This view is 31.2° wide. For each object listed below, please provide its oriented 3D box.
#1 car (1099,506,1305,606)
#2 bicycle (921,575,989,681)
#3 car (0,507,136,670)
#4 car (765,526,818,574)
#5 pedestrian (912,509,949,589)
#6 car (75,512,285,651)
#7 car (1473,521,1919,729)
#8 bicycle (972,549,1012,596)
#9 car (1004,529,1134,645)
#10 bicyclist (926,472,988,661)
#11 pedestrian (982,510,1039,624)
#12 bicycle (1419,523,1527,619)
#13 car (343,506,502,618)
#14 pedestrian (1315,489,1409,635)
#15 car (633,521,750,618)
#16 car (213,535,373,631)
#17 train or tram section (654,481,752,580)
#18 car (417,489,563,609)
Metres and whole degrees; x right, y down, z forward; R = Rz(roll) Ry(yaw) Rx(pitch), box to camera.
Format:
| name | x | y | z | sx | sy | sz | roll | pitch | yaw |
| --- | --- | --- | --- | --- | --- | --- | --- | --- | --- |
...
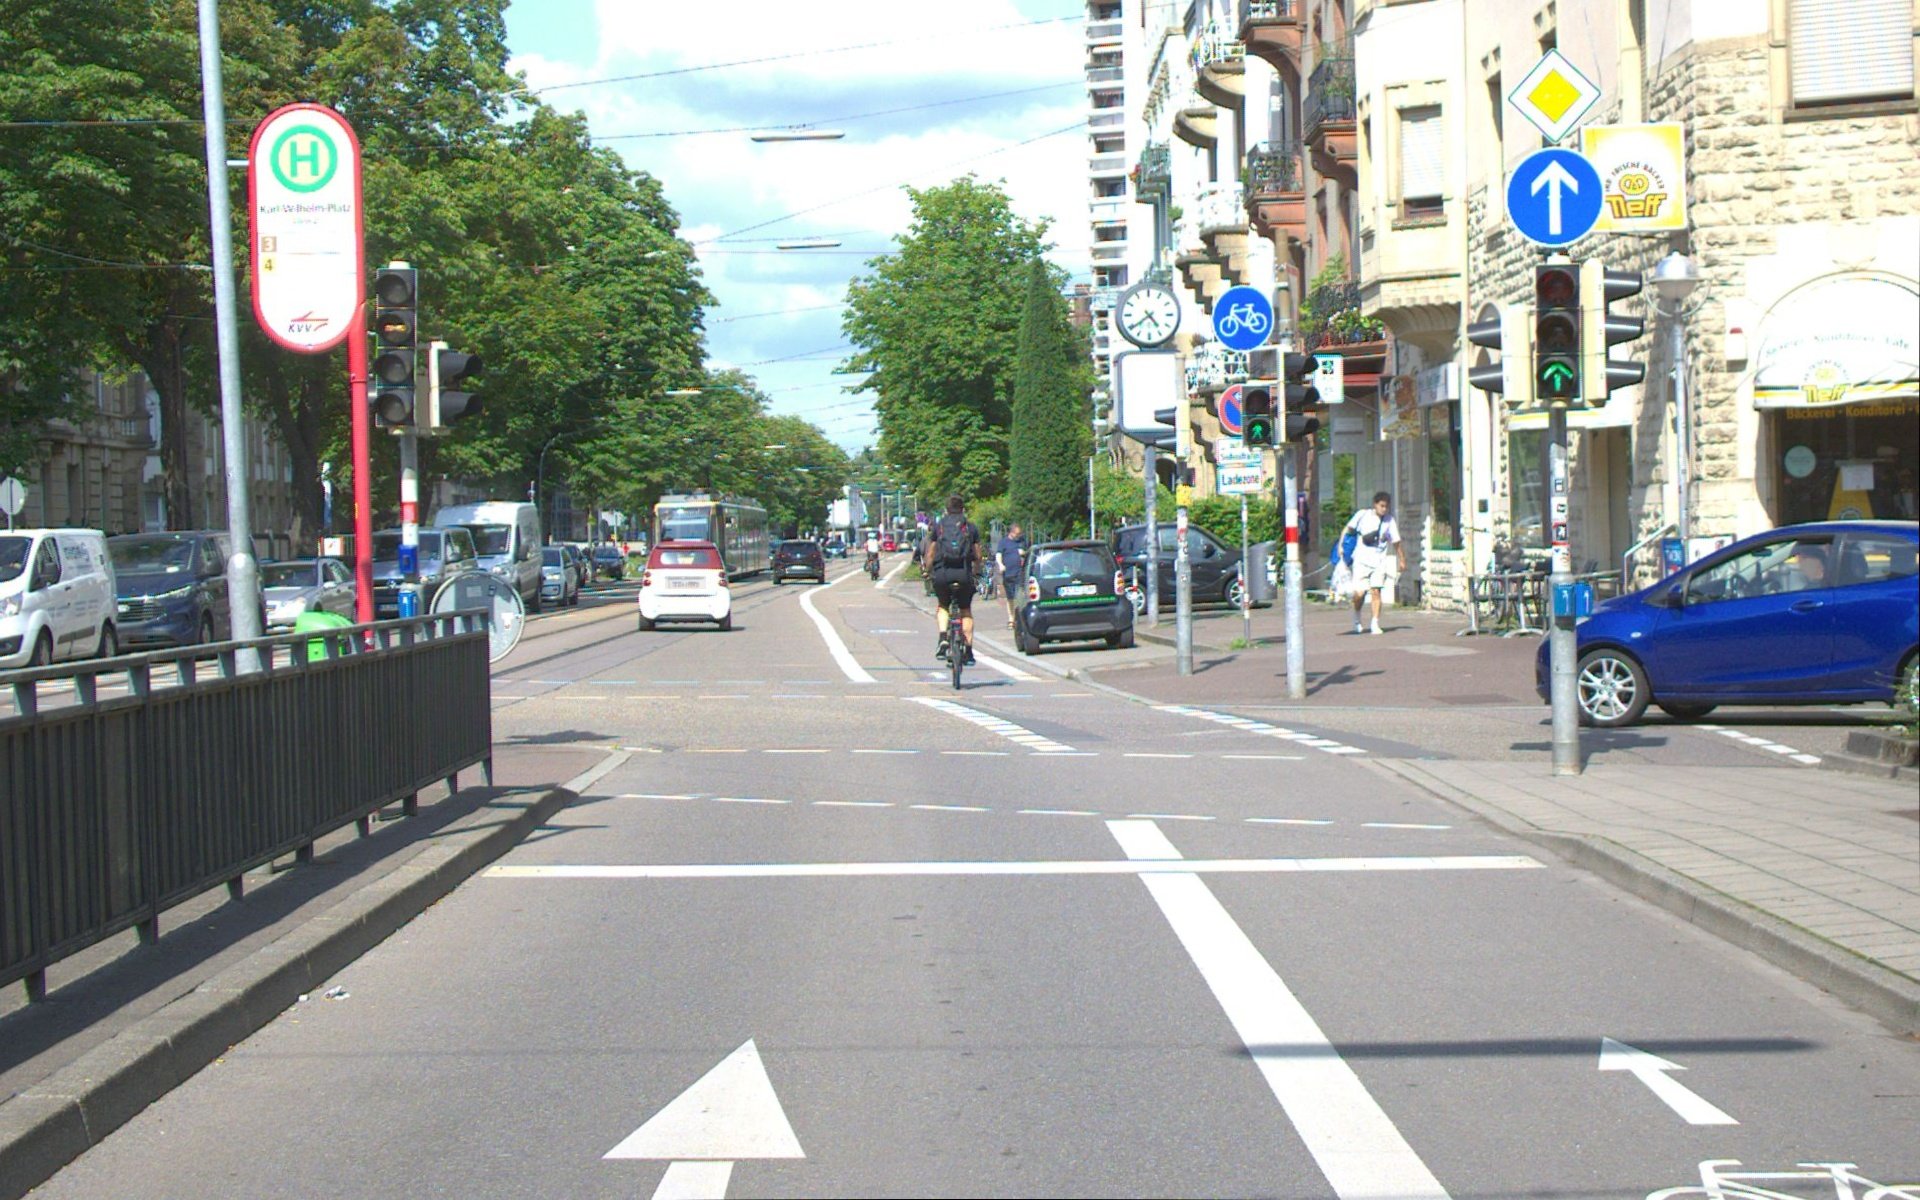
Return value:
| name | x | y | z | sx | sy | sz | roll | pitch | yaw |
| --- | --- | --- | --- | --- | --- | --- | --- | --- | --- |
| car | 4.138 | -0.762 | 59.210 | 3.401 | 1.518 | 1.972 | -3 | 1 | 2 |
| bicycle | -0.060 | 0.296 | 35.909 | 0.616 | 1.041 | 1.836 | -4 | -1 | -1 |
| car | -12.387 | -0.177 | 44.367 | 1.994 | 1.988 | 5.088 | 1 | 1 | 3 |
| car | -5.900 | -1.772 | 120.475 | 1.665 | 1.619 | 3.621 | -1 | 1 | -1 |
| pedestrian | -0.699 | -1.208 | 81.491 | 0.787 | 1.855 | 0.580 | -1 | -3 | -7 |
| car | -11.646 | -0.295 | 51.656 | 1.927 | 1.910 | 5.124 | -2 | 1 | 0 |
| car | 5.979 | 0.152 | 25.031 | 3.995 | 1.414 | 1.888 | 0 | 1 | 35 |
| bicycle | 0.710 | -0.628 | 76.446 | 0.599 | 0.957 | 3.067 | -5 | 1 | -3 |
| car | 1.503 | -0.201 | 48.272 | 1.513 | 1.493 | 2.794 | -4 | 1 | -3 |
| bicyclist | -0.037 | -0.349 | 35.877 | 0.607 | 1.941 | 1.130 | 1 | 0 | -1 |
| pedestrian | 0.839 | -0.551 | 57.560 | 0.659 | 1.835 | 0.873 | -5 | 1 | -8 |
| bicycle | 6.524 | -0.374 | 43.883 | 0.804 | 1.173 | 2.752 | 1 | 1 | -3 |
| car | -10.664 | -0.716 | 68.575 | 1.986 | 1.956 | 5.178 | -1 | -2 | 4 |
| pedestrian | 5.032 | -0.485 | 43.110 | 1.010 | 1.762 | 0.850 | -3 | 2 | 1 |
| car | -4.655 | -0.527 | 59.922 | 1.665 | 1.619 | 3.620 | 1 | 1 | 1 |
| car | -11.436 | -0.325 | 59.190 | 1.693 | 1.475 | 4.482 | -2 | 2 | 2 |
| train or tram section | -9.612 | -2.561 | 129.712 | 2.652 | 3.425 | 12.315 | -3 | 1 | 0 |
| car | -10.383 | -1.183 | 76.432 | 2.316 | 2.499 | 6.364 | -1 | 2 | 0 |
